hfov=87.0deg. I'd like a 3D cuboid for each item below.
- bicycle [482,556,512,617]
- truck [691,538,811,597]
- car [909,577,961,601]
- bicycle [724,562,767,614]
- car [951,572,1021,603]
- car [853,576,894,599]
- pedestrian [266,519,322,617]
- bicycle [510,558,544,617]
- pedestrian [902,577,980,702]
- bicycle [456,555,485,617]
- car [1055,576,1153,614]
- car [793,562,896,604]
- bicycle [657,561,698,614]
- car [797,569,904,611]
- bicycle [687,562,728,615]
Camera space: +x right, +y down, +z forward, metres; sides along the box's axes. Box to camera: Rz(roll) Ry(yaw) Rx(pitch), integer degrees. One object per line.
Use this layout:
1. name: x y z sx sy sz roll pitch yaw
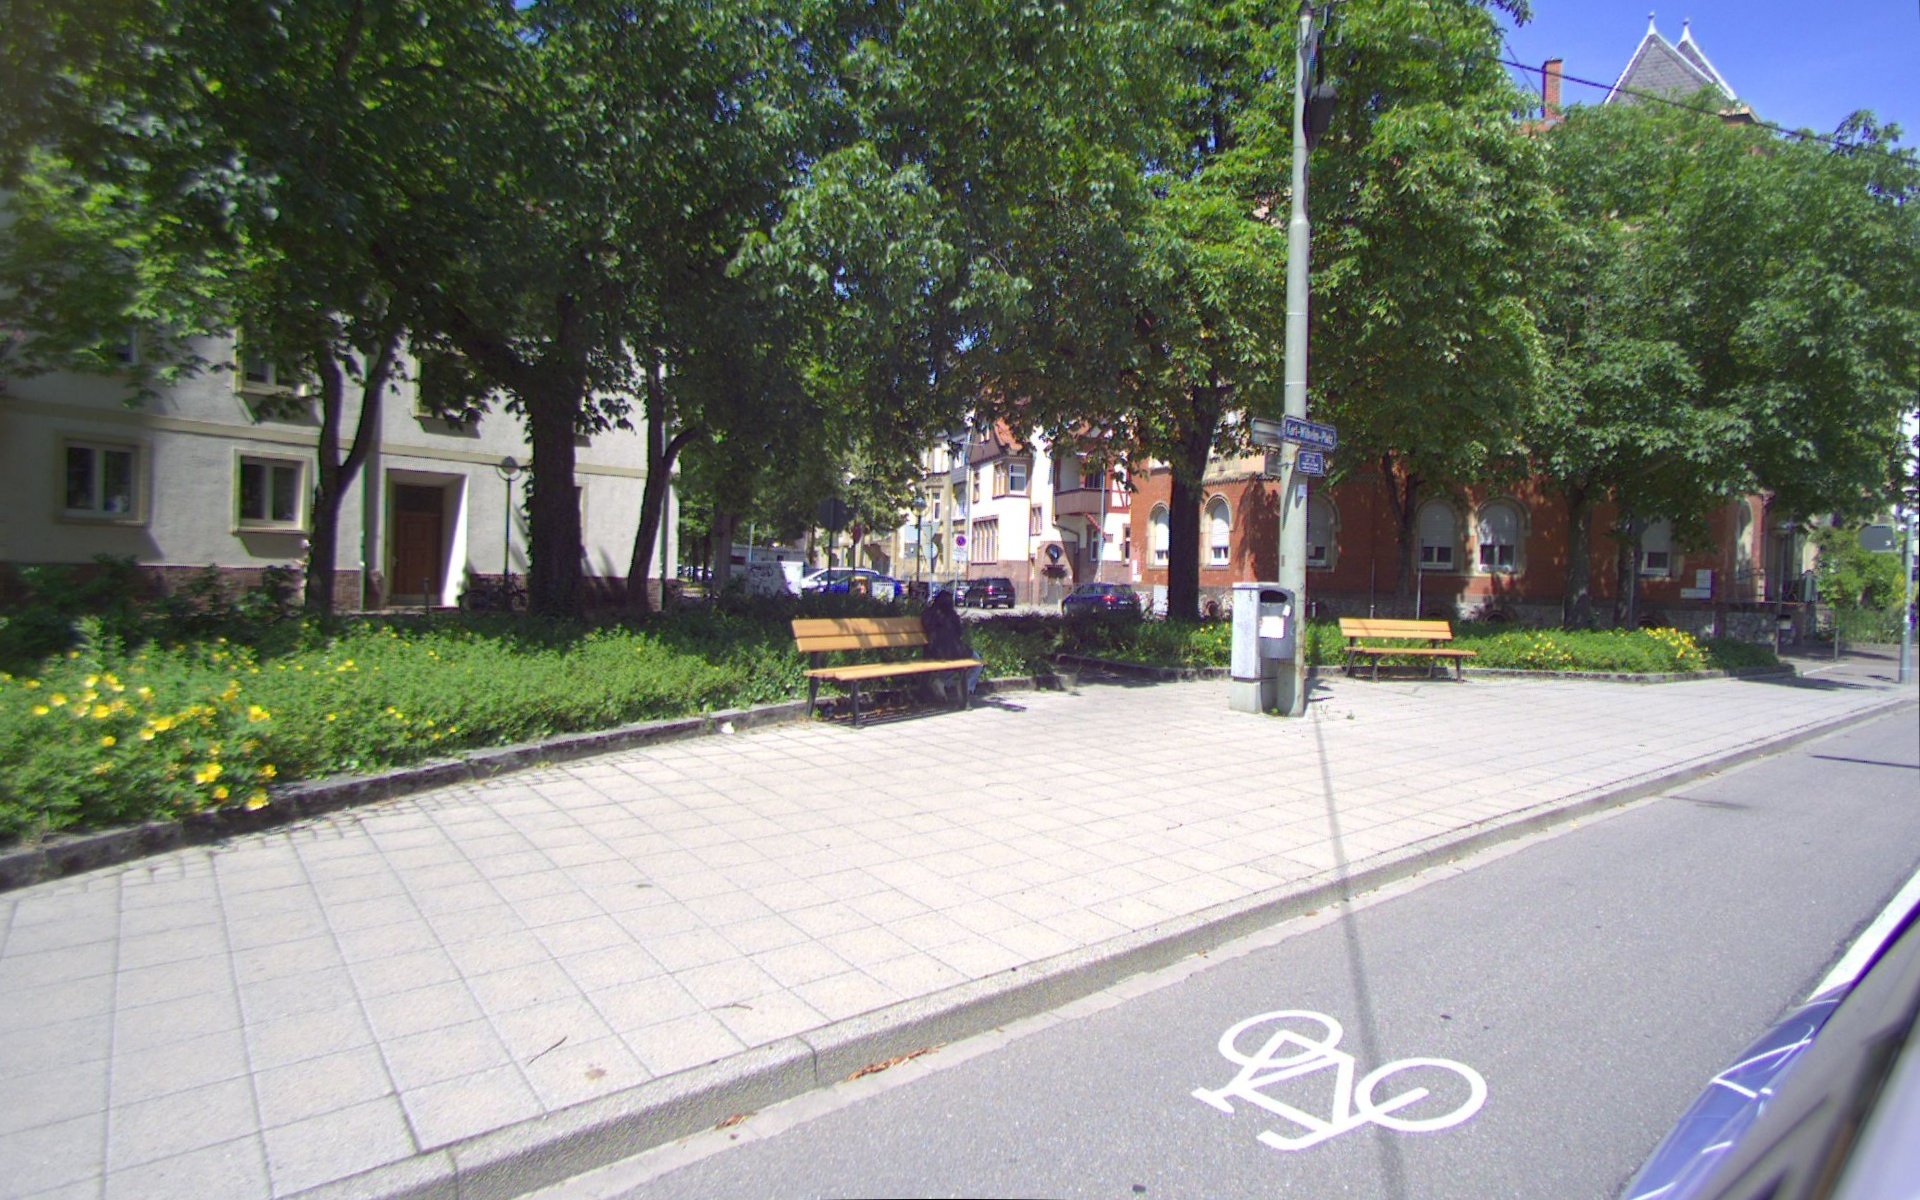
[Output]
1. bicycle: -10.764 -0.323 23.503 0.505 1.364 2.247 0 1 -28
2. truck: -12.411 -1.905 60.210 6.685 3.193 1.939 2 0 -19
3. car: -1.624 -0.711 63.409 1.865 1.482 4.625 0 1 -20
4. bicycle: -5.619 -0.319 26.431 0.536 1.316 2.162 0 1 -28
5. car: 1.317 -0.711 54.005 1.946 1.551 5.502 0 1 -19
6. car: -6.338 -0.916 73.819 1.865 1.575 4.411 0 1 -20
7. pedestrian: -14.304 -0.683 21.736 0.802 2.039 0.764 1 1 34
8. bicycle: -10.073 -0.299 23.497 0.536 1.316 2.162 0 1 -28
9. pedestrian: -0.181 0.359 9.498 0.469 1.105 0.511 2 2 -34
10. bicycle: -11.247 -0.329 23.246 0.505 1.361 2.332 0 1 -28
11. car: 5.686 -0.240 40.637 1.865 1.459 4.769 0 1 -20
12. car: -5.111 -0.734 44.617 4.176 1.673 1.731 2 0 -21
13. bicycle: -7.274 -0.330 25.997 0.536 1.316 2.162 0 1 -28
14. car: -4.274 -0.391 39.411 3.807 1.447 1.731 2 0 -21
15. bicycle: -6.562 -0.298 26.242 0.536 1.316 2.162 0 1 -28
